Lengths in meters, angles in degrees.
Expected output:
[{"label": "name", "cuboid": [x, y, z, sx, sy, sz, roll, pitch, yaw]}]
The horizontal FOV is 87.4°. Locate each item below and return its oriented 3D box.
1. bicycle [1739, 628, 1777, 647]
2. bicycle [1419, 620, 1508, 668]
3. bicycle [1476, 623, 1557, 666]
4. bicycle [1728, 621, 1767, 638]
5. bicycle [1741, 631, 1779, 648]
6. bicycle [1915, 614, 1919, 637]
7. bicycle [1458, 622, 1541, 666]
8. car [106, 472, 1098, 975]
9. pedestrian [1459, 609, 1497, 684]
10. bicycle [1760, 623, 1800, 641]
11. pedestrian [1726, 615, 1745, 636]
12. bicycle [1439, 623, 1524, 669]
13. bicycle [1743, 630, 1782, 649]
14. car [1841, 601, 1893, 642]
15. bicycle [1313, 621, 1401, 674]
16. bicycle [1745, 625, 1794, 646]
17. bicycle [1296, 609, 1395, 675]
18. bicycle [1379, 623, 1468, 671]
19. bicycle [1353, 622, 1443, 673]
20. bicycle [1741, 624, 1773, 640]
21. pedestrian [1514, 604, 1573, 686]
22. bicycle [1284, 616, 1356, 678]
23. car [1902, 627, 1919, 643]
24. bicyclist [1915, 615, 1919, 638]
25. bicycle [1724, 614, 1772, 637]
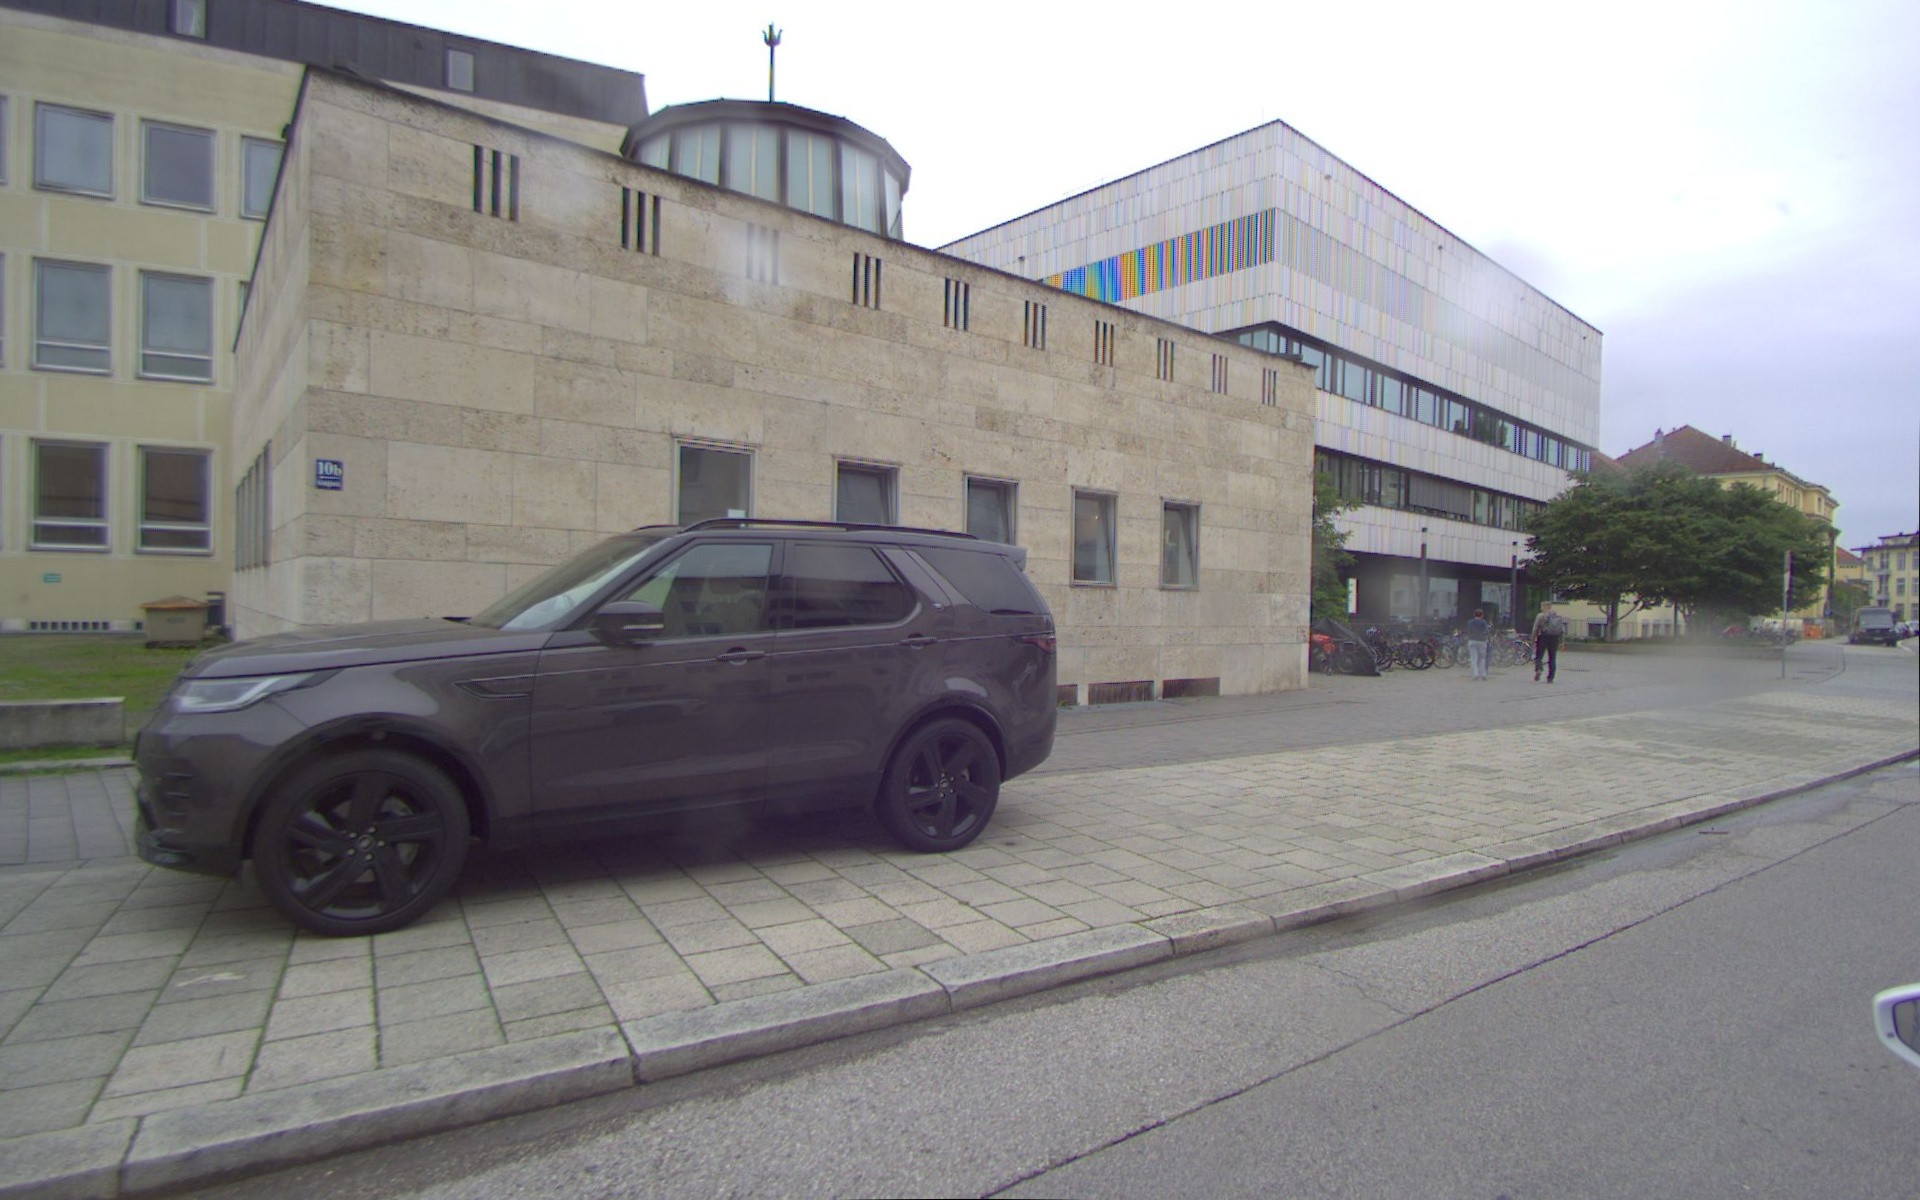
[{"label": "bicycle", "cuboid": [49.708, 2.313, 62.586, 0.503, 1.047, 1.776, 0, 2, -38]}, {"label": "bicycle", "cuboid": [13.693, 1.172, 27.353, 2.021, 1.126, 0.613, 3, 3, 41]}, {"label": "bicycle", "cuboid": [16.885, 1.328, 30.493, 2.024, 1.126, 0.613, 4, 3, 45]}, {"label": "bicycle", "cuboid": [45.398, 1.718, 57.924, 0.436, 0.874, 1.703, 0, 3, -42]}, {"label": "bicycle", "cuboid": [48.618, 2.392, 61.053, 0.590, 0.928, 1.661, 0, 2, -38]}, {"label": "bicycle", "cuboid": [87.347, 2.316, 91.228, 2.827, 2.040, 0.741, 0, -1, -44]}, {"label": "bicycle", "cuboid": [15.847, 1.282, 29.565, 2.024, 1.126, 0.613, 4, 3, 45]}, {"label": "car", "cuboid": [-1.643, 0.451, 5.773, 4.766, 1.795, 1.980, 1, 0, -35]}, {"label": "pedestrian", "cuboid": [11.608, 1.026, 22.534, 0.632, 1.623, 0.606, 2, 2, 22]}, {"label": "bicycle", "cuboid": [54.802, 2.123, 67.141, 0.671, 1.107, 1.889, 0, 2, -38]}, {"label": "pedestrian", "cuboid": [45.607, 1.496, 59.081, 1.033, 1.178, 0.711, 0, 3, -44]}, {"label": "bicycle", "cuboid": [14.762, 1.291, 28.485, 2.024, 1.126, 0.613, 4, 3, 45]}, {"label": "bicycle", "cuboid": [50.569, 2.505, 63.315, 0.535, 1.043, 1.852, 0, 2, -38]}, {"label": "car", "cuboid": [63.671, 1.564, 70.581, 2.393, 2.751, 5.926, 0, -2, 39]}, {"label": "bicycle", "cuboid": [9.867, 1.156, 25.032, 0.610, 1.126, 2.034, 0, 2, -32]}, {"label": "bicycle", "cuboid": [51.677, 2.271, 64.153, 0.576, 1.150, 2.292, 0, 2, -38]}, {"label": "bicycle", "cuboid": [9.048, 0.956, 23.638, 0.609, 1.370, 2.077, 0, 3, -43]}, {"label": "bicycle", "cuboid": [12.341, 1.231, 26.776, 2.021, 1.126, 0.613, 3, 3, 41]}, {"label": "bicycle", "cuboid": [11.196, 1.201, 25.738, 0.611, 1.126, 2.029, 0, 2, -39]}, {"label": "bicycle", "cuboid": [46.466, 1.852, 58.564, 0.436, 0.874, 1.359, 0, 3, -42]}, {"label": "pedestrian", "cuboid": [13.188, 1.000, 22.709, 0.811, 1.763, 0.789, 0, 2, -32]}, {"label": "bicycle", "cuboid": [8.125, 1.034, 22.697, 0.459, 1.277, 1.436, 0, 3, -43]}, {"label": "car", "cuboid": [103.106, 3.792, 108.389, 2.003, 1.642, 4.482, -1, -3, 42]}, {"label": "bicyclist", "cuboid": [87.316, 2.427, 91.248, 0.762, 2.040, 0.759, 0, -2, -43]}, {"label": "bicycle", "cuboid": [47.211, 1.510, 60.176, 0.780, 1.244, 2.088, 0, 2, -38]}]
